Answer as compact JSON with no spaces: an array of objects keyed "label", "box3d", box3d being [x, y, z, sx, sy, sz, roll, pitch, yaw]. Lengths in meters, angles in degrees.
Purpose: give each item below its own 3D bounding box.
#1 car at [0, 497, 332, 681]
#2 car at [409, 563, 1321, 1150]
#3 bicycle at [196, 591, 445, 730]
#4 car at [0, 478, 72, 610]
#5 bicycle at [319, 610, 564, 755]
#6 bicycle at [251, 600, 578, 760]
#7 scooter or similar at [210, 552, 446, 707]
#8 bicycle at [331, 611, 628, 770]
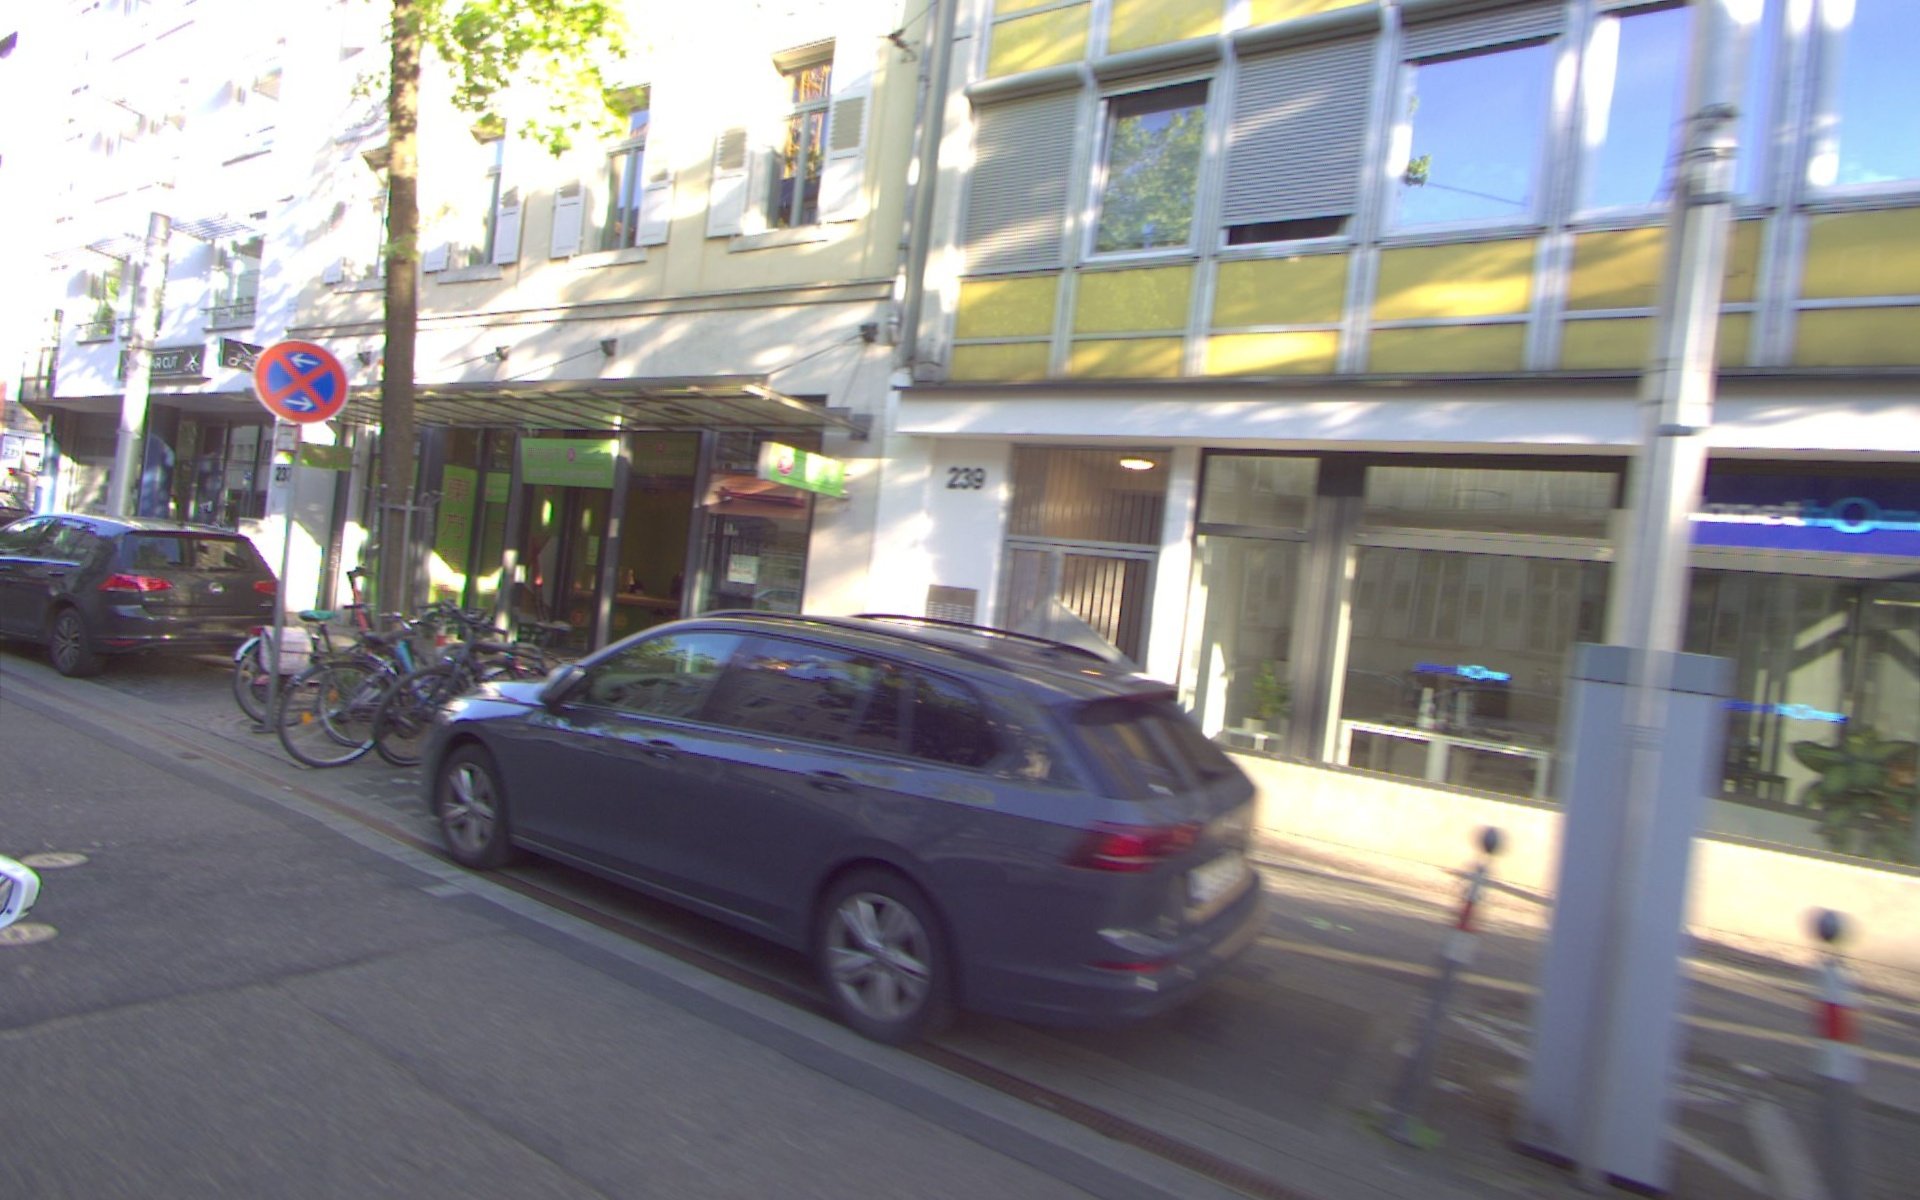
[{"label":"car","box3d":[-8.703,-0.174,10.329,3.928,1.453,1.843,7,-1,24]},{"label":"car","box3d":[-0.611,0.780,4.902,4.039,1.472,1.871,7,1,33]},{"label":"bicycle","box3d":[-5.059,0.507,8.052,0.488,0.976,1.539,7,-1,36]},{"label":"car","box3d":[-15.159,-1.038,14.605,4.785,1.734,1.996,7,-1,32]},{"label":"bicycle","box3d":[-3.947,0.649,7.763,0.489,0.976,1.538,7,-1,39]},{"label":"bicycle","box3d":[-3.764,0.589,7.155,0.278,0.976,2.038,7,-1,37]},{"label":"scooter or similar","box3d":[-5.555,0.299,8.925,0.664,1.211,1.539,7,-1,36]},{"label":"bicycle","box3d":[-3.332,0.655,7.181,0.327,0.976,1.896,7,-1,37]}]
